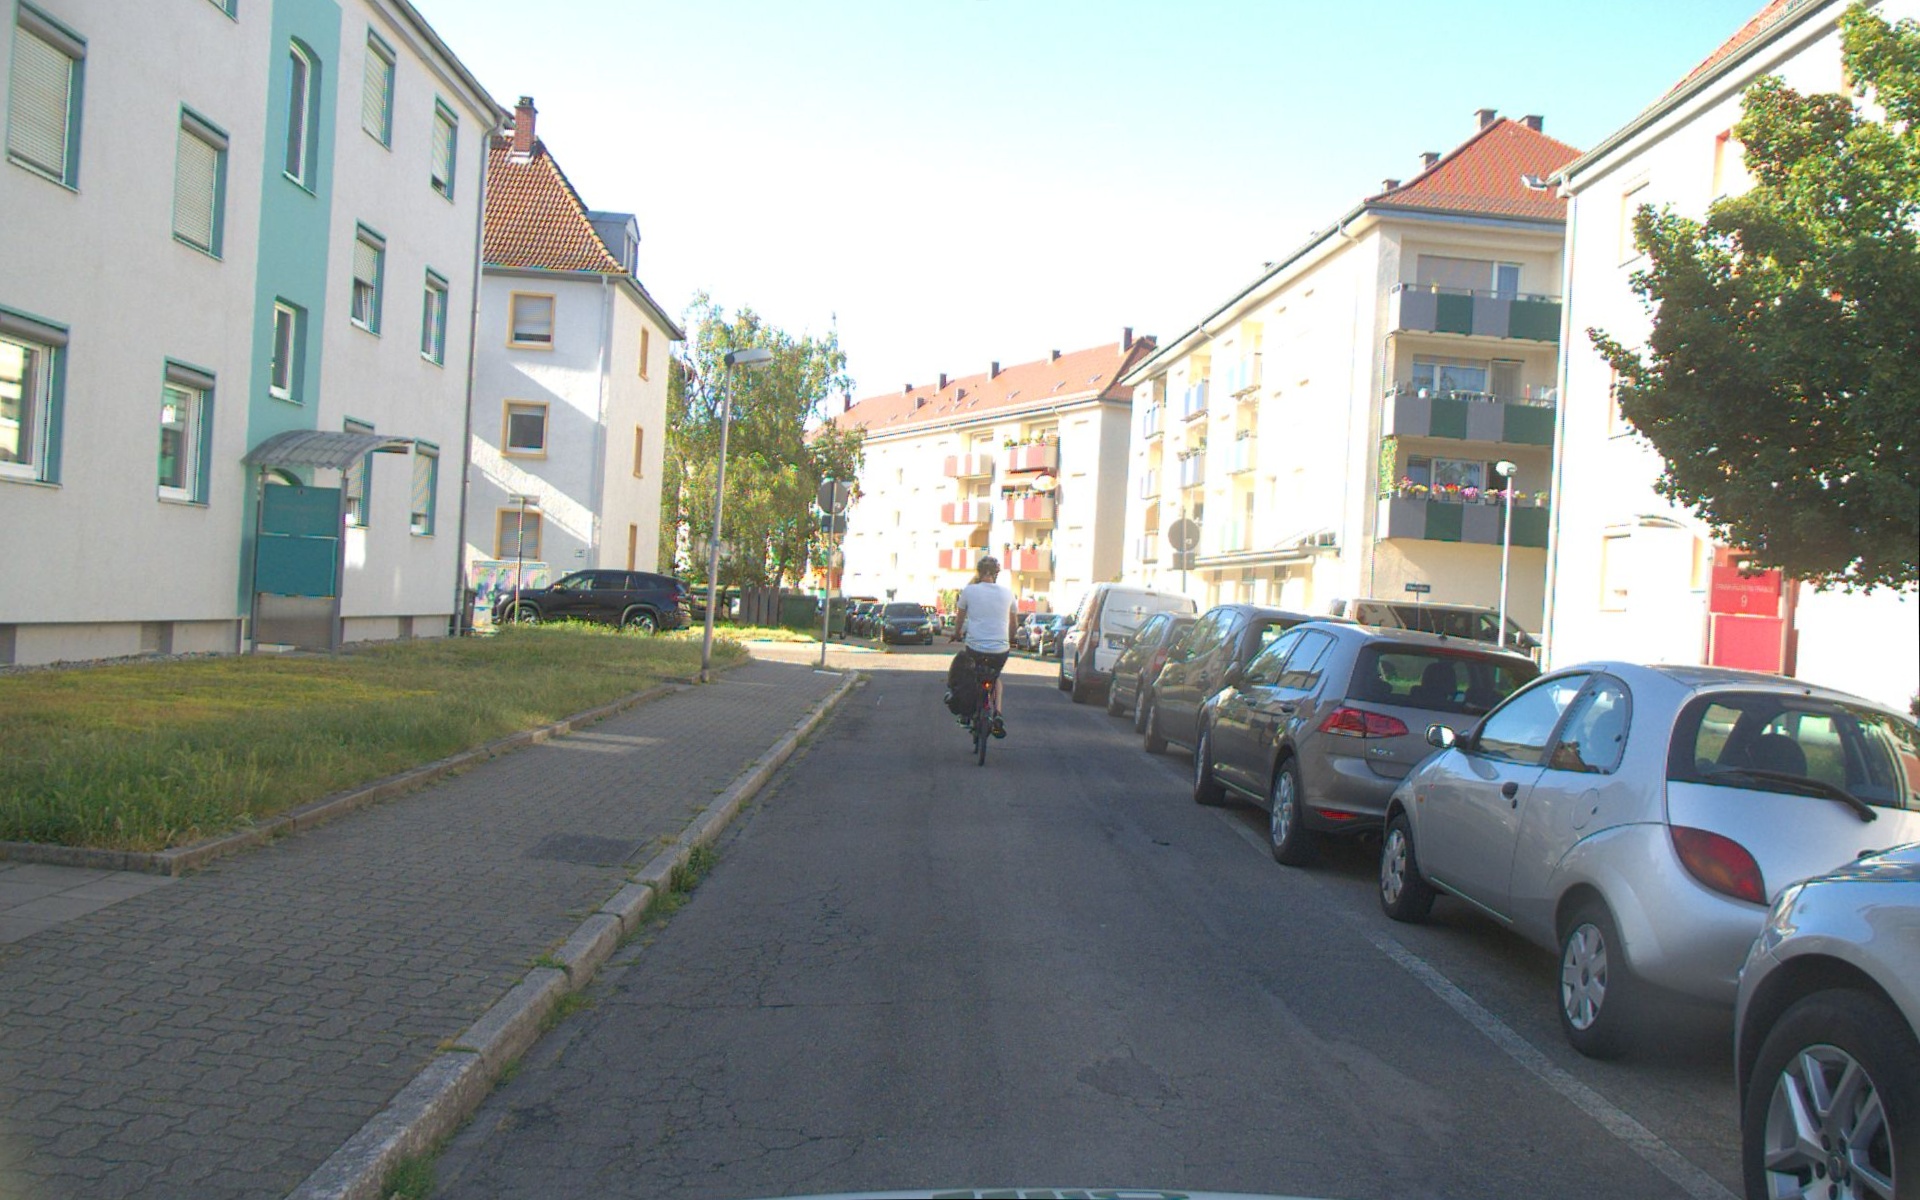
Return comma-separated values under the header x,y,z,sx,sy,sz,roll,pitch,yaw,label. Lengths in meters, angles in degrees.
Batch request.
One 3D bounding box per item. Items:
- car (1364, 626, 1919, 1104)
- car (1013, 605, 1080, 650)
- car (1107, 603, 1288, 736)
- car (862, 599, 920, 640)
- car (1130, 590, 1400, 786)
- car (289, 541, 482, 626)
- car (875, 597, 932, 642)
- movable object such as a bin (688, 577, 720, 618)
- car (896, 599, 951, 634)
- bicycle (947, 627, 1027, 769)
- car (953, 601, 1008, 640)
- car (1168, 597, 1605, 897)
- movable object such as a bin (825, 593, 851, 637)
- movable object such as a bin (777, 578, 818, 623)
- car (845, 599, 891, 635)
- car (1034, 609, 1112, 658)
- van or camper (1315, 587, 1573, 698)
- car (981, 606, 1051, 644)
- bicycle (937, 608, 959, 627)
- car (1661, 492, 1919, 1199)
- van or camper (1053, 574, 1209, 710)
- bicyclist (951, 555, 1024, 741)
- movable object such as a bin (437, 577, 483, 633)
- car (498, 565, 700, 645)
x,y,z,sx,sy,sz,roll,pitch,yaw,label
3.048,0.931,7.196,1.596,1.418,3.488,5,0,-1,car
3.242,1.026,63.006,1.646,1.472,4.716,3,0,-8,car
2.869,0.793,20.685,1.541,1.442,3.786,2,0,-3,car
-2.615,0.701,61.808,1.647,1.468,4.270,0,0,-9,car
2.820,0.753,16.053,1.586,1.577,3.607,4,0,-5,car
-13.625,-0.366,39.375,3.910,1.820,1.719,2,-2,-1,car
-1.981,0.655,56.591,1.645,1.478,4.615,0,0,-6,car
-9.333,-0.086,60.259,1.039,1.460,1.002,1,0,-4,movable object such as a bin
-1.983,0.844,87.783,1.739,1.664,4.018,1,1,-20,car
0.222,0.842,14.917,0.614,1.134,1.815,2,0,-2,bicycle
0.895,0.966,75.460,1.663,1.685,4.378,2,-2,-11,car
2.641,0.824,11.212,1.597,1.475,3.949,5,1,-4,car
-4.052,0.485,54.862,0.760,1.417,1.416,3,0,-3,movable object such as a bin
-5.407,0.025,55.196,1.195,1.404,0.767,4,-1,2,movable object such as a bin
-3.907,0.675,69.531,1.527,1.468,3.959,0,0,-9,car
3.823,1.109,56.833,1.647,1.431,4.536,3,0,-9,car
10.598,0.902,36.467,5.019,2.048,2.000,3,1,-1,van or camper
2.270,1.003,68.612,1.665,1.456,4.670,2,-1,-14,car
-0.715,1.003,97.079,0.609,0.995,1.883,0,2,-22,bicycle
2.818,0.746,2.067,1.741,1.748,4.305,5,0,-3,car
2.572,0.598,25.922,1.756,1.777,4.734,5,0,-1,van or camper
0.235,0.424,14.915,0.584,1.606,0.906,1,-1,-2,bicyclist
-9.487,0.097,31.400,0.600,1.009,0.714,3,0,-2,movable object such as a bin
-8.564,0.132,39.529,4.397,1.693,1.719,2,-2,-1,car
